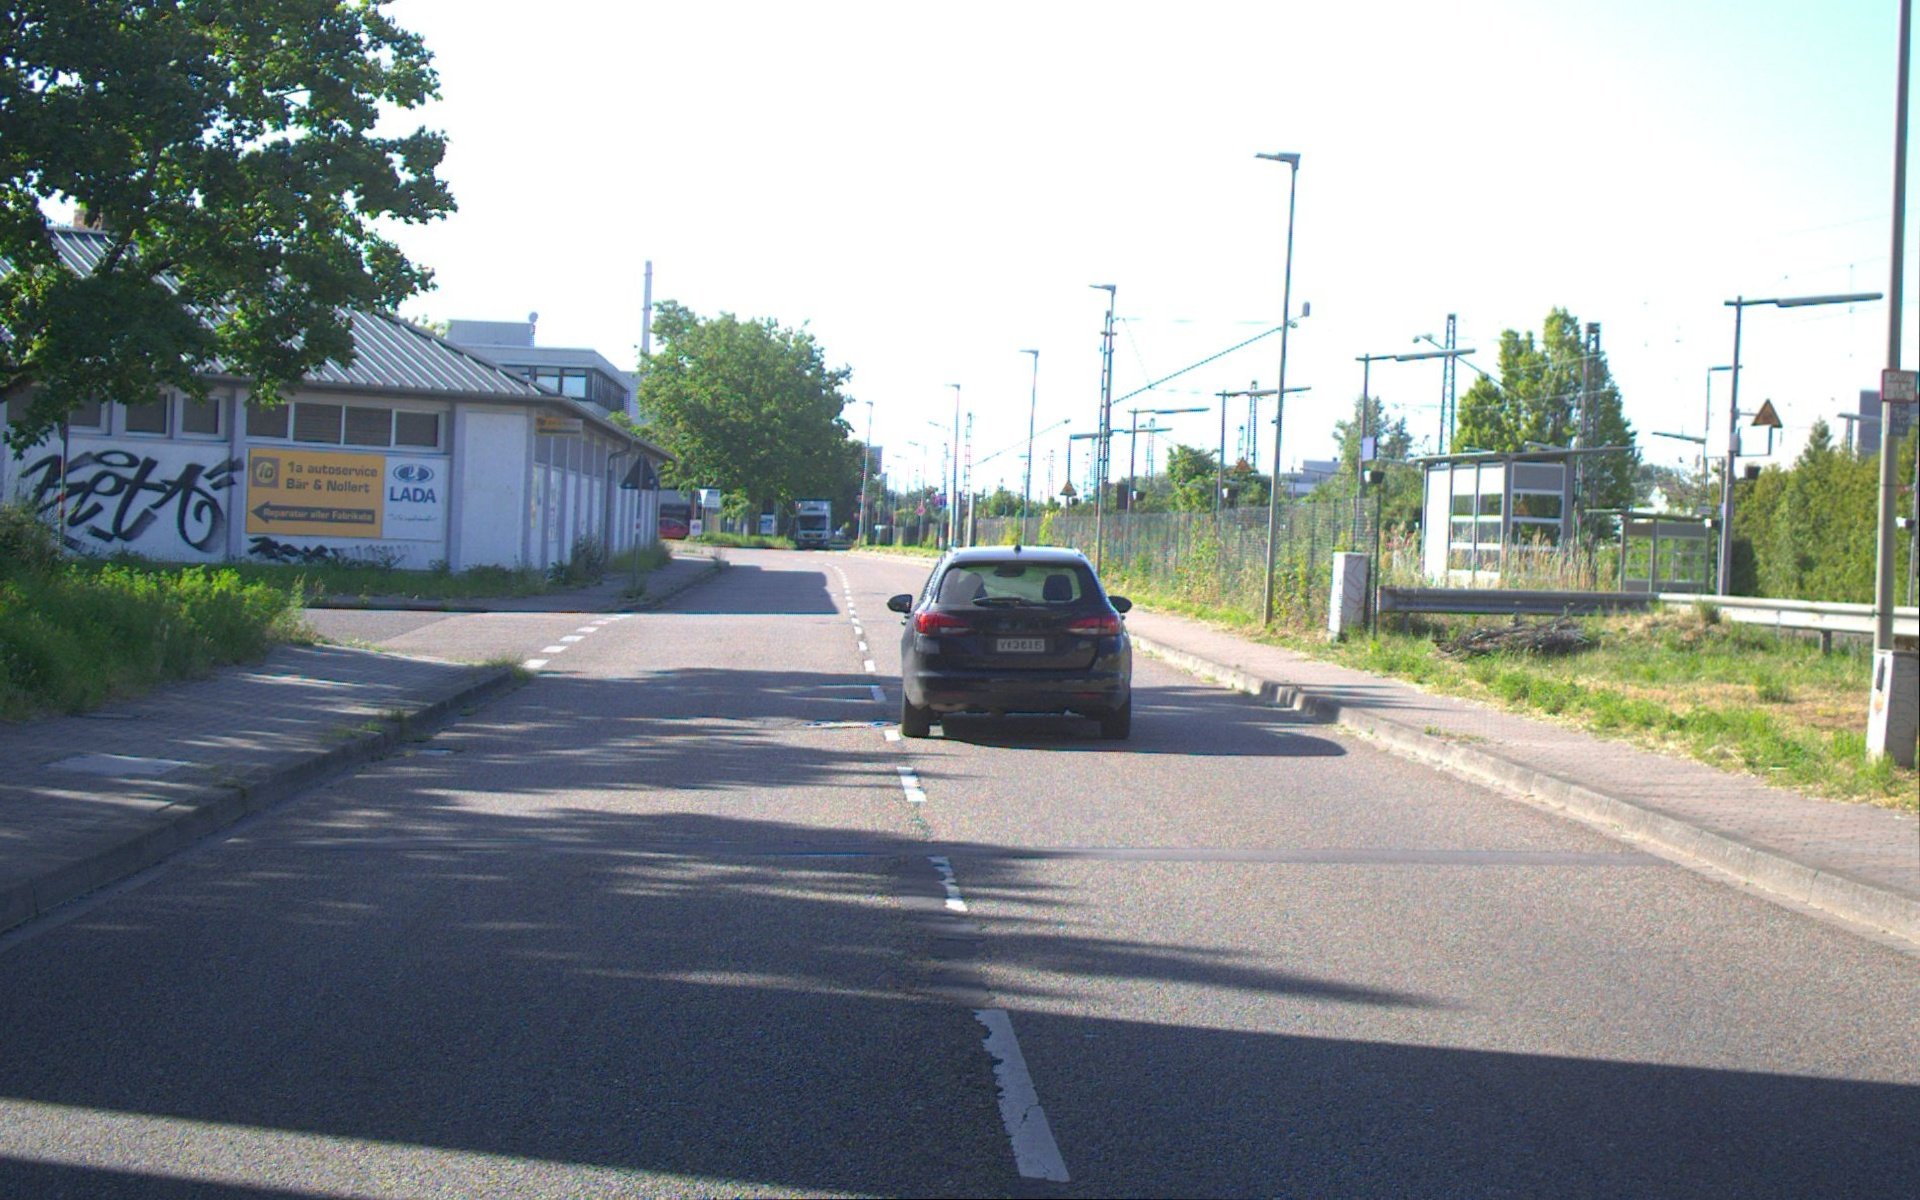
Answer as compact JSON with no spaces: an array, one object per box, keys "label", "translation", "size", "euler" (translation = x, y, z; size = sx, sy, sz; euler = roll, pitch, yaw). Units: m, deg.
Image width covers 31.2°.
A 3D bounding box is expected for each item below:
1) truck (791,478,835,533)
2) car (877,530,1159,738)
[{"label":"truck","translation":[-10.987,-7.029,256.039],"size":[2.612,3.872,13.535],"euler":[3,1,-4]},{"label":"car","translation":[0.372,0.208,27.593],"size":[1.942,1.483,4.566],"euler":[1,1,-3]}]
